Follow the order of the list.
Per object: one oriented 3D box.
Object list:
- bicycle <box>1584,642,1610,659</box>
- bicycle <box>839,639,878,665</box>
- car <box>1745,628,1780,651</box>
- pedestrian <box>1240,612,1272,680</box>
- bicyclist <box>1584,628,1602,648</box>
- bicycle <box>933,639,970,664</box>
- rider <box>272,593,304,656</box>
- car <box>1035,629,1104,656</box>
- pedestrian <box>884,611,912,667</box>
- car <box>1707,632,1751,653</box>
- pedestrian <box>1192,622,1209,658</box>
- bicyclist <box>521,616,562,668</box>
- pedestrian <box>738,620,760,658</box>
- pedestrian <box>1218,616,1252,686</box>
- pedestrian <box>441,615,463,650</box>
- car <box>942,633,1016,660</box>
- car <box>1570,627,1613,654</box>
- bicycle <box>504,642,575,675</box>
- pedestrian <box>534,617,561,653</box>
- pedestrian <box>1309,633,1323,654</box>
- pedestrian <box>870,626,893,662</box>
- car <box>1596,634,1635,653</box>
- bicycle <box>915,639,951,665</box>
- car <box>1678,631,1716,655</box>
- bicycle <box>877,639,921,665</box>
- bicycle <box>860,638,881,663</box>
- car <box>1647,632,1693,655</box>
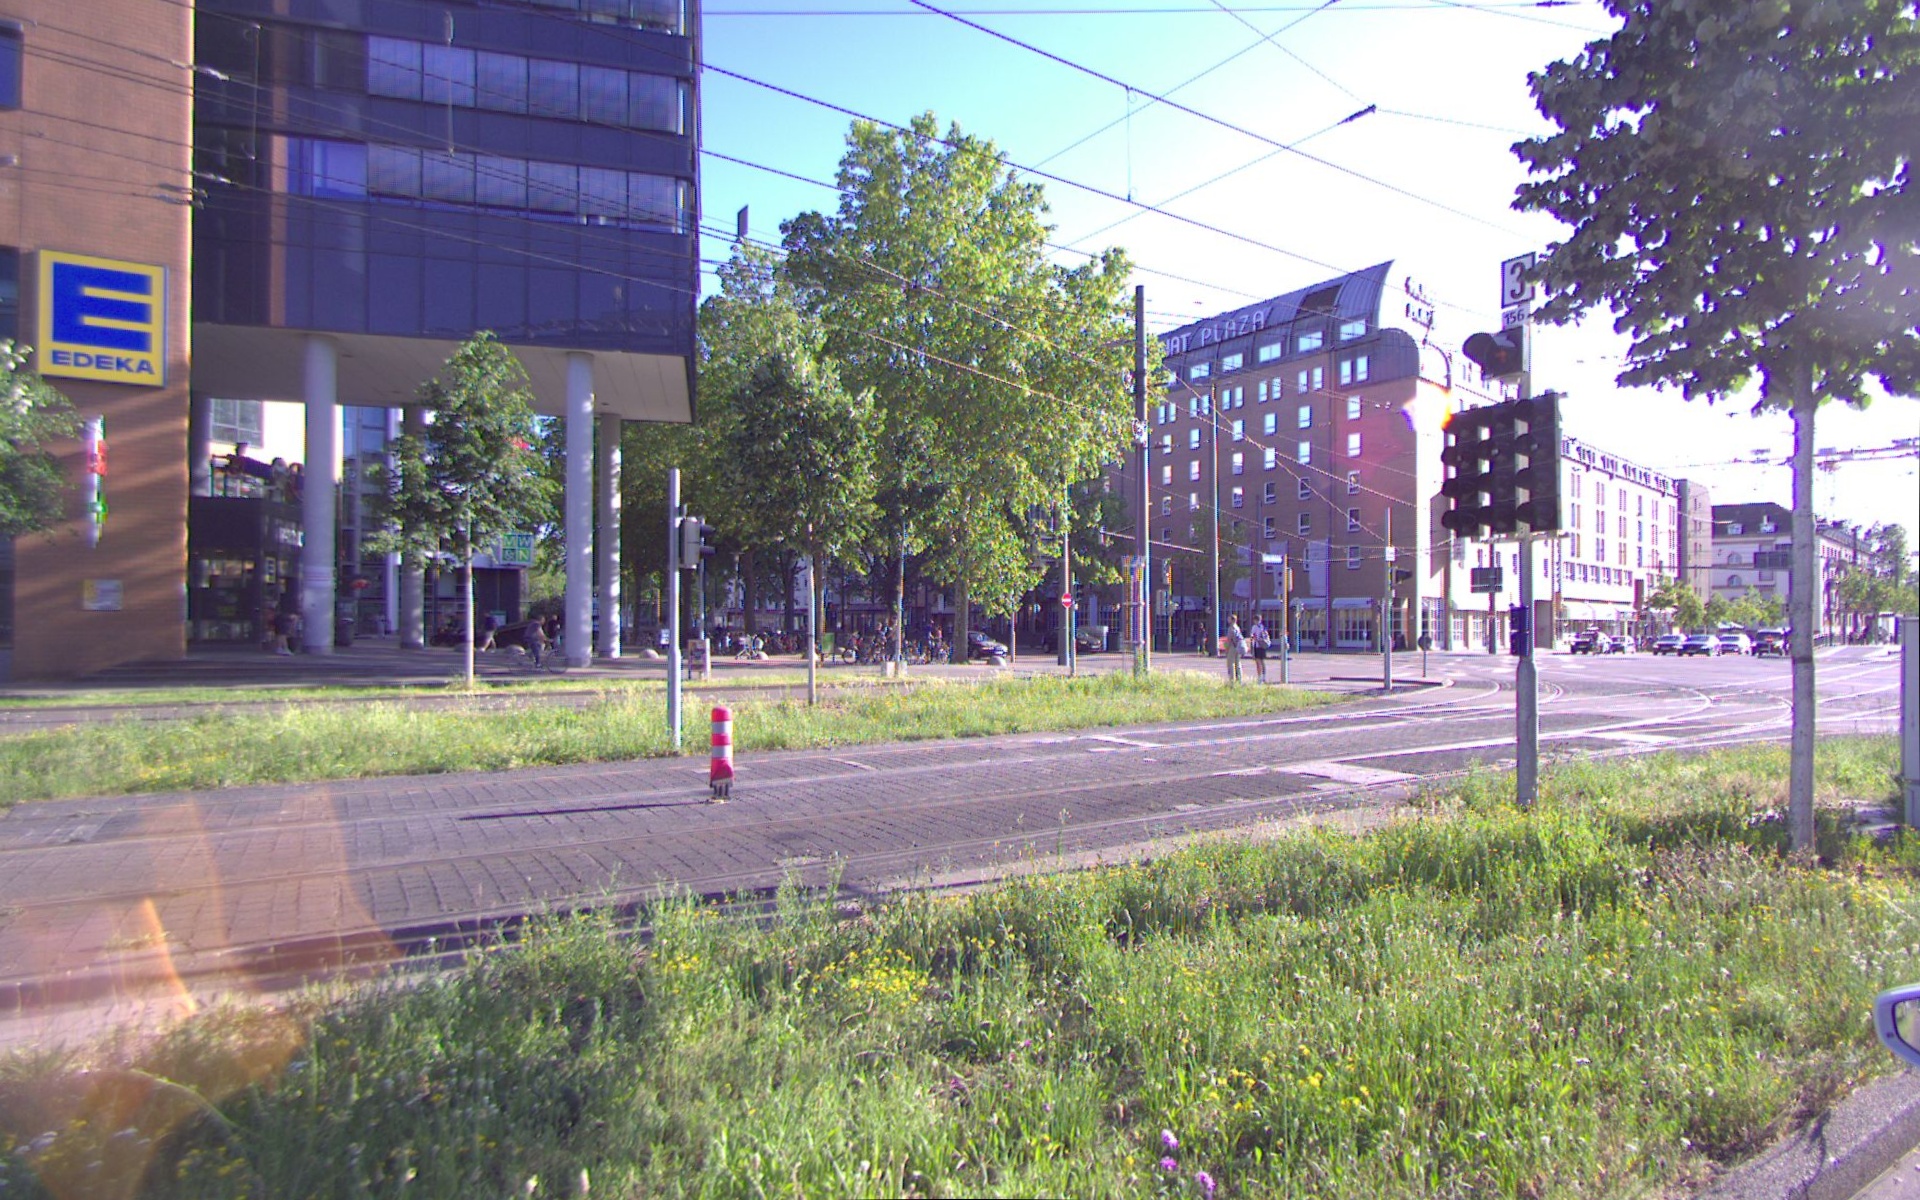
[{"bbox_3d":[43.920,3.467,69.215,2.902,1.099,0.644,1,-1,-39],"label":"bicycle"},{"bbox_3d":[-3.980,2.029,39.414,1.747,0.964,0.538,-1,-2,45],"label":"bicycle"},{"bbox_3d":[56.065,2.714,70.183,1.725,1.524,3.860,-1,-2,42],"label":"car"},{"bbox_3d":[8.157,1.259,27.668,0.657,1.841,0.559,1,-1,-37],"label":"pedestrian"},{"bbox_3d":[43.389,2.593,68.826,0.942,1.393,0.751,1,-1,-39],"label":"bicyclist"},{"bbox_3d":[-0.345,2.075,40.466,0.536,0.964,1.752,1,-1,-37],"label":"bicycle"},{"bbox_3d":[-19.620,0.718,29.336,0.704,1.826,0.714,1,-1,-30],"label":"rider"},{"bbox_3d":[6.262,2.397,57.665,1.743,1.439,3.959,1,-1,-37],"label":"car"},{"bbox_3d":[-2.317,1.439,37.482,0.827,2.040,0.730,1,0,-26],"label":"pedestrian"},{"bbox_3d":[58.076,3.183,75.809,3.961,1.468,1.562,1,-1,-36],"label":"car"},{"bbox_3d":[13.815,2.290,57.616,0.670,2.040,0.663,1,-1,-30],"label":"pedestrian"},{"bbox_3d":[-12.217,1.219,29.303,1.006,1.484,0.674,1,-3,-34],"label":"bicyclist"},{"bbox_3d":[-9.389,1.730,44.706,0.827,1.667,0.730,1,-1,-26],"label":"pedestrian"},{"bbox_3d":[7.391,1.350,27.037,0.657,1.854,0.627,1,-1,-37],"label":"pedestrian"},{"bbox_3d":[-25.790,1.643,50.967,0.794,1.730,0.789,1,0,-14],"label":"pedestrian"},{"bbox_3d":[0.939,2.368,51.793,1.978,1.283,3.966,1,-2,-32],"label":"car"},{"bbox_3d":[49.079,3.127,78.068,3.974,2.040,1.974,2,-2,-44],"label":"car"},{"bbox_3d":[-12.263,1.706,29.319,1.869,0.923,0.495,1,-1,-34],"label":"bicycle"},{"bbox_3d":[-20.348,1.734,49.519,1.091,1.730,0.789,1,0,-14],"label":"pedestrian"},{"bbox_3d":[25.321,3.101,71.485,0.652,1.523,0.671,1,-1,-34],"label":"pedestrian"},{"bbox_3d":[-3.570,2.011,45.761,0.827,1.619,0.730,1,0,-26],"label":"pedestrian"},{"bbox_3d":[53.913,3.568,82.567,3.974,1.530,1.866,2,-2,-44],"label":"car"},{"bbox_3d":[-1.096,2.058,40.108,0.536,0.964,1.752,1,-1,-37],"label":"bicycle"},{"bbox_3d":[49.920,2.869,67.979,1.725,1.524,3.860,-1,-2,42],"label":"car"},{"bbox_3d":[-2.378,2.036,39.246,1.741,0.964,0.540,0,-1,33],"label":"bicycle"},{"bbox_3d":[-3.632,2.039,40.867,0.530,0.964,1.772,0,-1,5],"label":"bicycle"},{"bbox_3d":[52.393,3.209,74.132,4.707,1.617,1.974,2,-2,-44],"label":"car"}]
